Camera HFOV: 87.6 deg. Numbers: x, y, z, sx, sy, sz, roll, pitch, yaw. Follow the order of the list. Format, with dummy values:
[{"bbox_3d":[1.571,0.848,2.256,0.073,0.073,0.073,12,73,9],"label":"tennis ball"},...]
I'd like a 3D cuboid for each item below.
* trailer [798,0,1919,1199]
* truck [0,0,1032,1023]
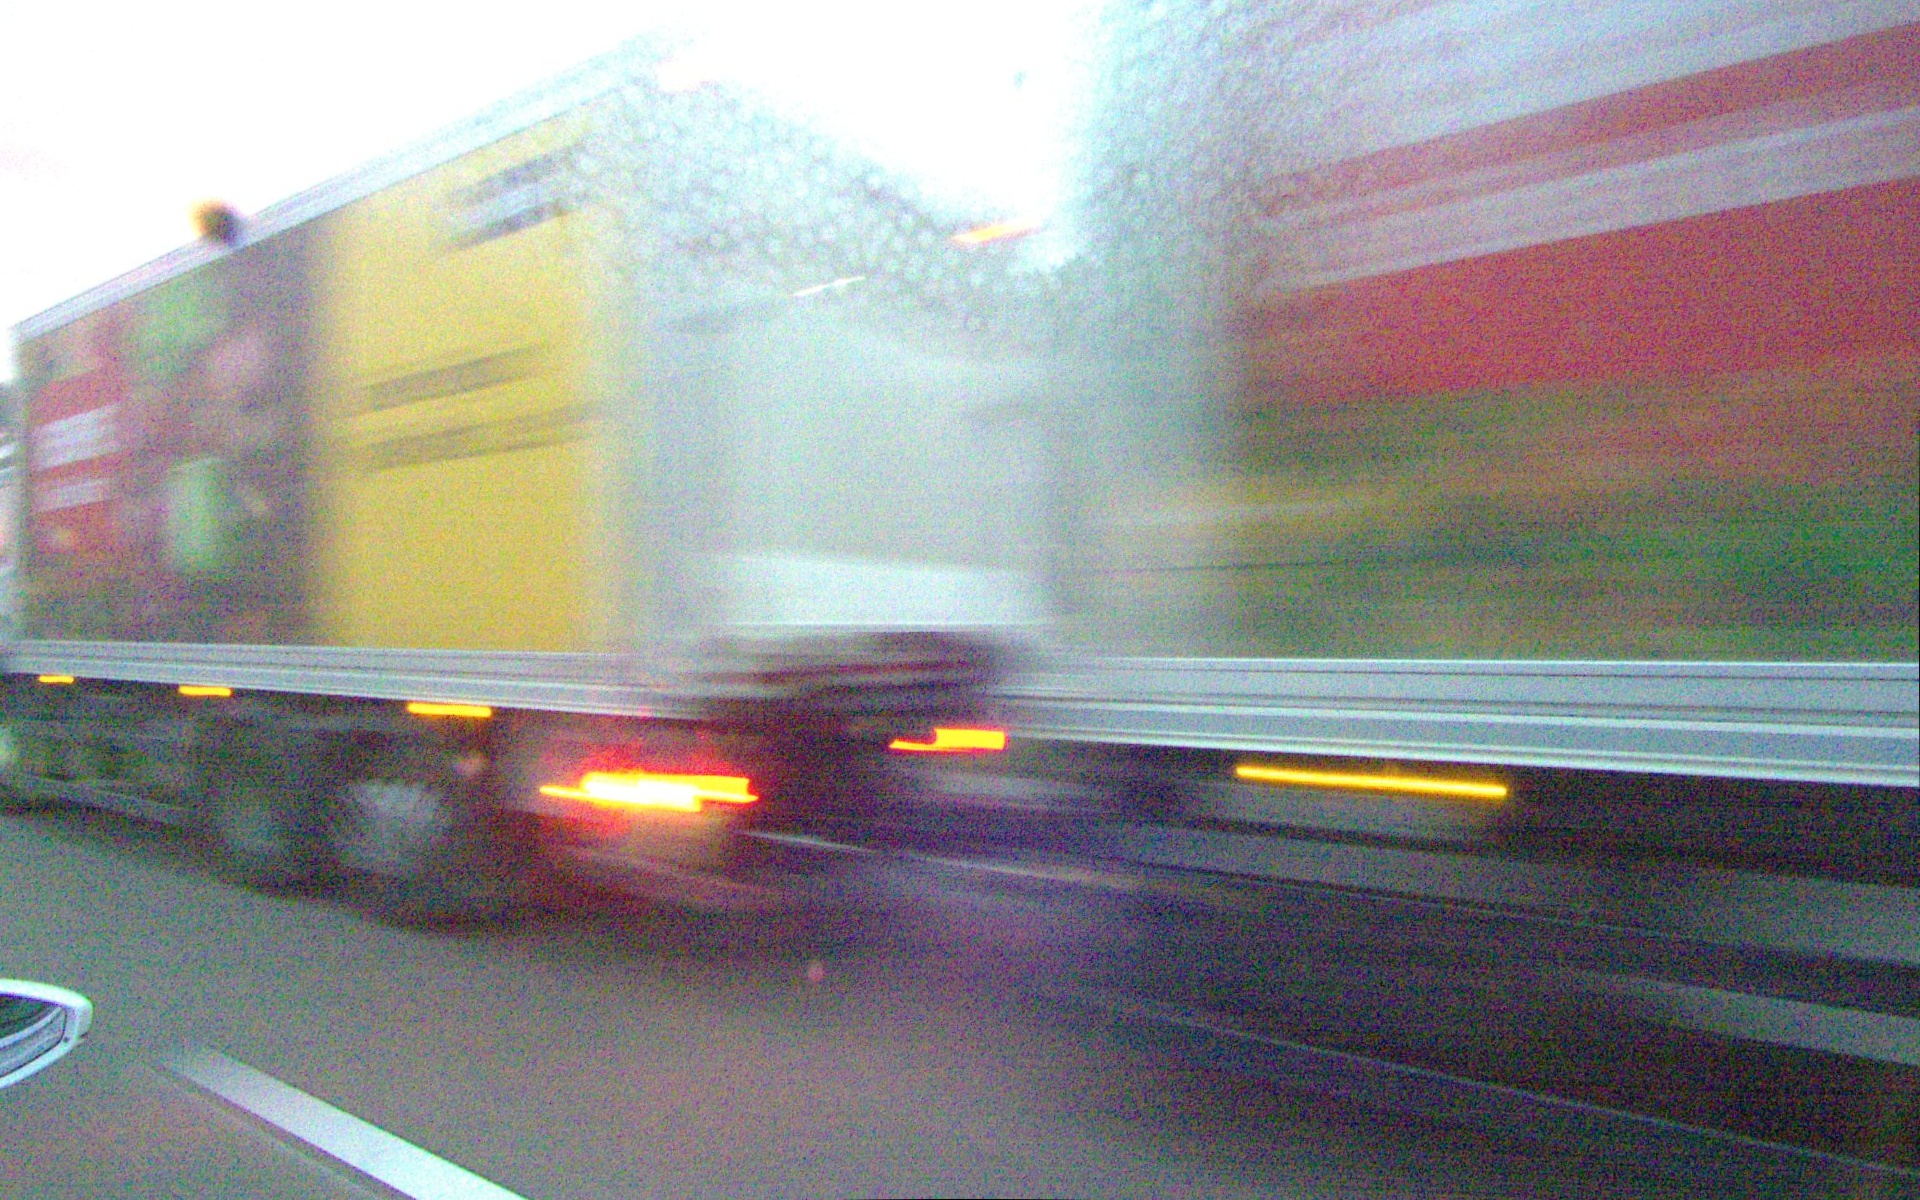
[{"bbox_3d":[3.886,-0.469,2.000,8.750,3.877,2.611,-1,0,32],"label":"trailer"},{"bbox_3d":[-4.609,-0.324,7.427,10.238,3.877,2.611,-1,0,32],"label":"truck"}]
